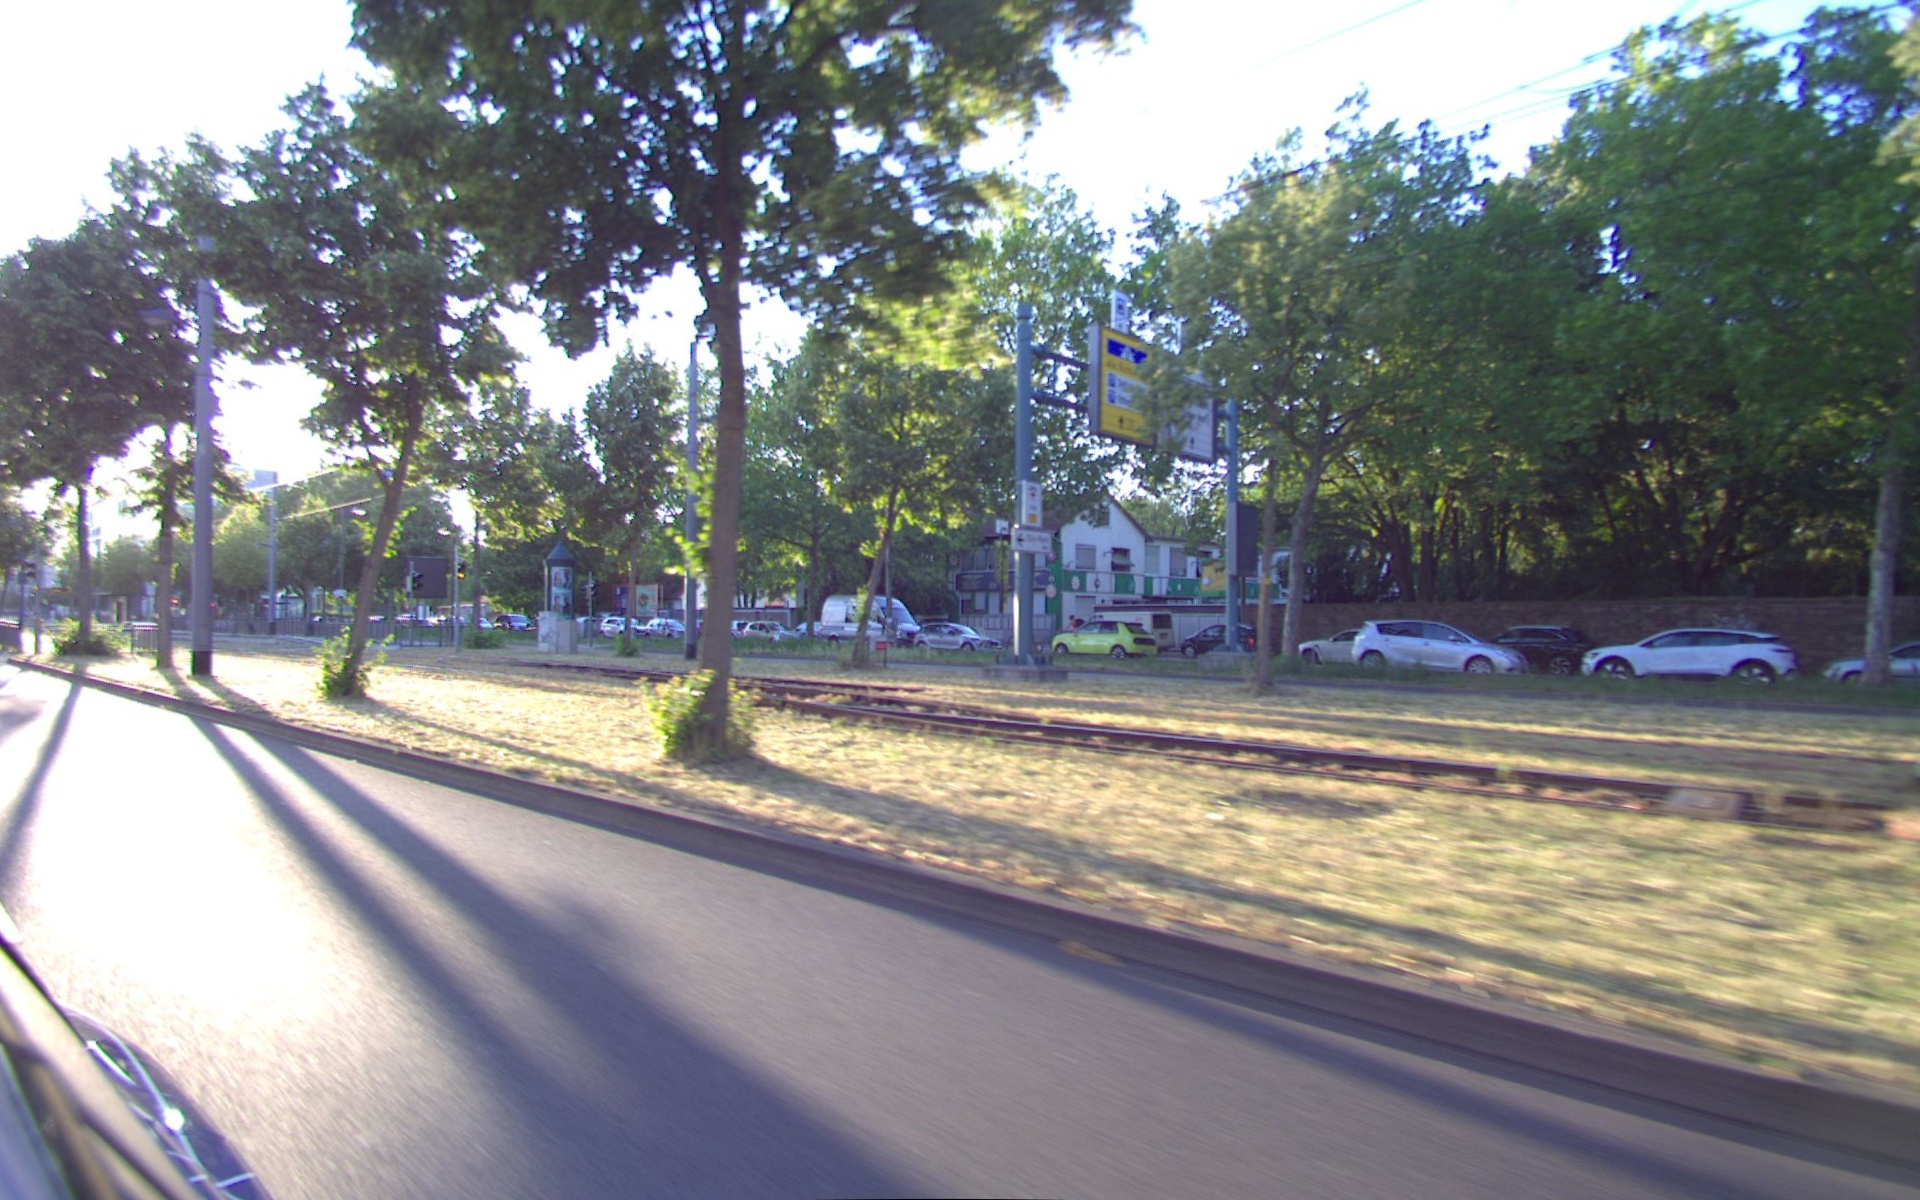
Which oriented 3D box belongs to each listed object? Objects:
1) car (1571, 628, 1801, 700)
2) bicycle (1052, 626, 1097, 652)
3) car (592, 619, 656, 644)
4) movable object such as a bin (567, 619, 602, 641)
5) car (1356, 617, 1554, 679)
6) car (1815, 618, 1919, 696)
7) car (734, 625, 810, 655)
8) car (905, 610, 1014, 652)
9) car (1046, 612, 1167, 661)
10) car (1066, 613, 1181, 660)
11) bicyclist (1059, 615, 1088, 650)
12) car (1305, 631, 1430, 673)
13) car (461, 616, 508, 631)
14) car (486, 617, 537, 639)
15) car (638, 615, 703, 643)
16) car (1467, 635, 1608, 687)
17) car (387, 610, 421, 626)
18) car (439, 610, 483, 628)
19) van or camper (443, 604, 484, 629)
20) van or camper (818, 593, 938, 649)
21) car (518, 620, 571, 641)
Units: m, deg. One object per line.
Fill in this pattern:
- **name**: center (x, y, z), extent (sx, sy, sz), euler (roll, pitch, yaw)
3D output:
- **car**: center (17.257, 1.462, 24.174), extent (4.305, 1.511, 1.879), euler (0, -2, 42)
- **bicycle**: center (5.162, 1.756, 45.782), extent (0.722, 1.099, 2.018), euler (2, -2, -43)
- **car**: center (-20.927, 1.945, 63.020), extent (4.298, 1.512, 1.972), euler (-1, -2, 43)
- **movable object such as a bin**: center (-24.333, 1.933, 65.589), extent (1.724, 1.383, 1.536), euler (-1, -2, 42)
- **car**: center (13.508, 1.258, 27.789), extent (4.556, 1.510, 1.972), euler (0, -2, 42)
- **car**: center (25.868, 1.525, 27.343), extent (1.969, 2.029, 4.005), euler (2, -2, -42)
- **car**: center (-10.229, 2.121, 54.979), extent (4.098, 1.512, 1.972), euler (0, -1, 43)
- **car**: center (-0.059, 1.261, 41.748), extent (4.206, 1.649, 1.973), euler (-1, -2, 40)
- **car**: center (5.190, 1.267, 36.201), extent (1.969, 1.652, 4.005), euler (2, -2, -42)
- **car**: center (7.529, 1.651, 47.020), extent (5.060, 2.029, 1.971), euler (-1, -2, 45)
- **bicyclist**: center (5.149, 1.465, 45.807), extent (0.719, 1.545, 1.086), euler (2, -2, -43)
- **car**: center (15.472, 1.937, 38.551), extent (4.051, 1.503, 1.839), euler (-1, -2, 44)
- **car**: center (-37.667, 1.856, 80.081), extent (4.089, 1.210, 1.972), euler (-1, -2, 43)
- **car**: center (-33.759, 2.121, 76.098), extent (4.297, 1.598, 1.972), euler (-1, -2, 43)
- **car**: center (-16.810, 1.656, 58.756), extent (4.053, 1.543, 1.790), euler (-1, -2, 43)
- **car**: center (19.507, 2.013, 34.257), extent (3.840, 1.608, 1.746), euler (-1, -2, 44)
- **car**: center (-55.821, 1.801, 101.540), extent (1.970, 1.541, 4.003), euler (1, -2, -44)
- **car**: center (-41.205, 1.576, 83.541), extent (4.001, 1.418, 1.971), euler (-1, -2, 44)
- **van or camper**: center (-53.666, 1.796, 109.319), extent (2.363, 2.583, 5.638), euler (2, -2, -43)
- **van or camper**: center (-3.804, 0.942, 45.893), extent (2.257, 2.383, 5.787), euler (1, -2, -44)
- **car**: center (-29.478, 2.123, 71.813), extent (4.000, 1.459, 1.972), euler (-1, -2, 43)
